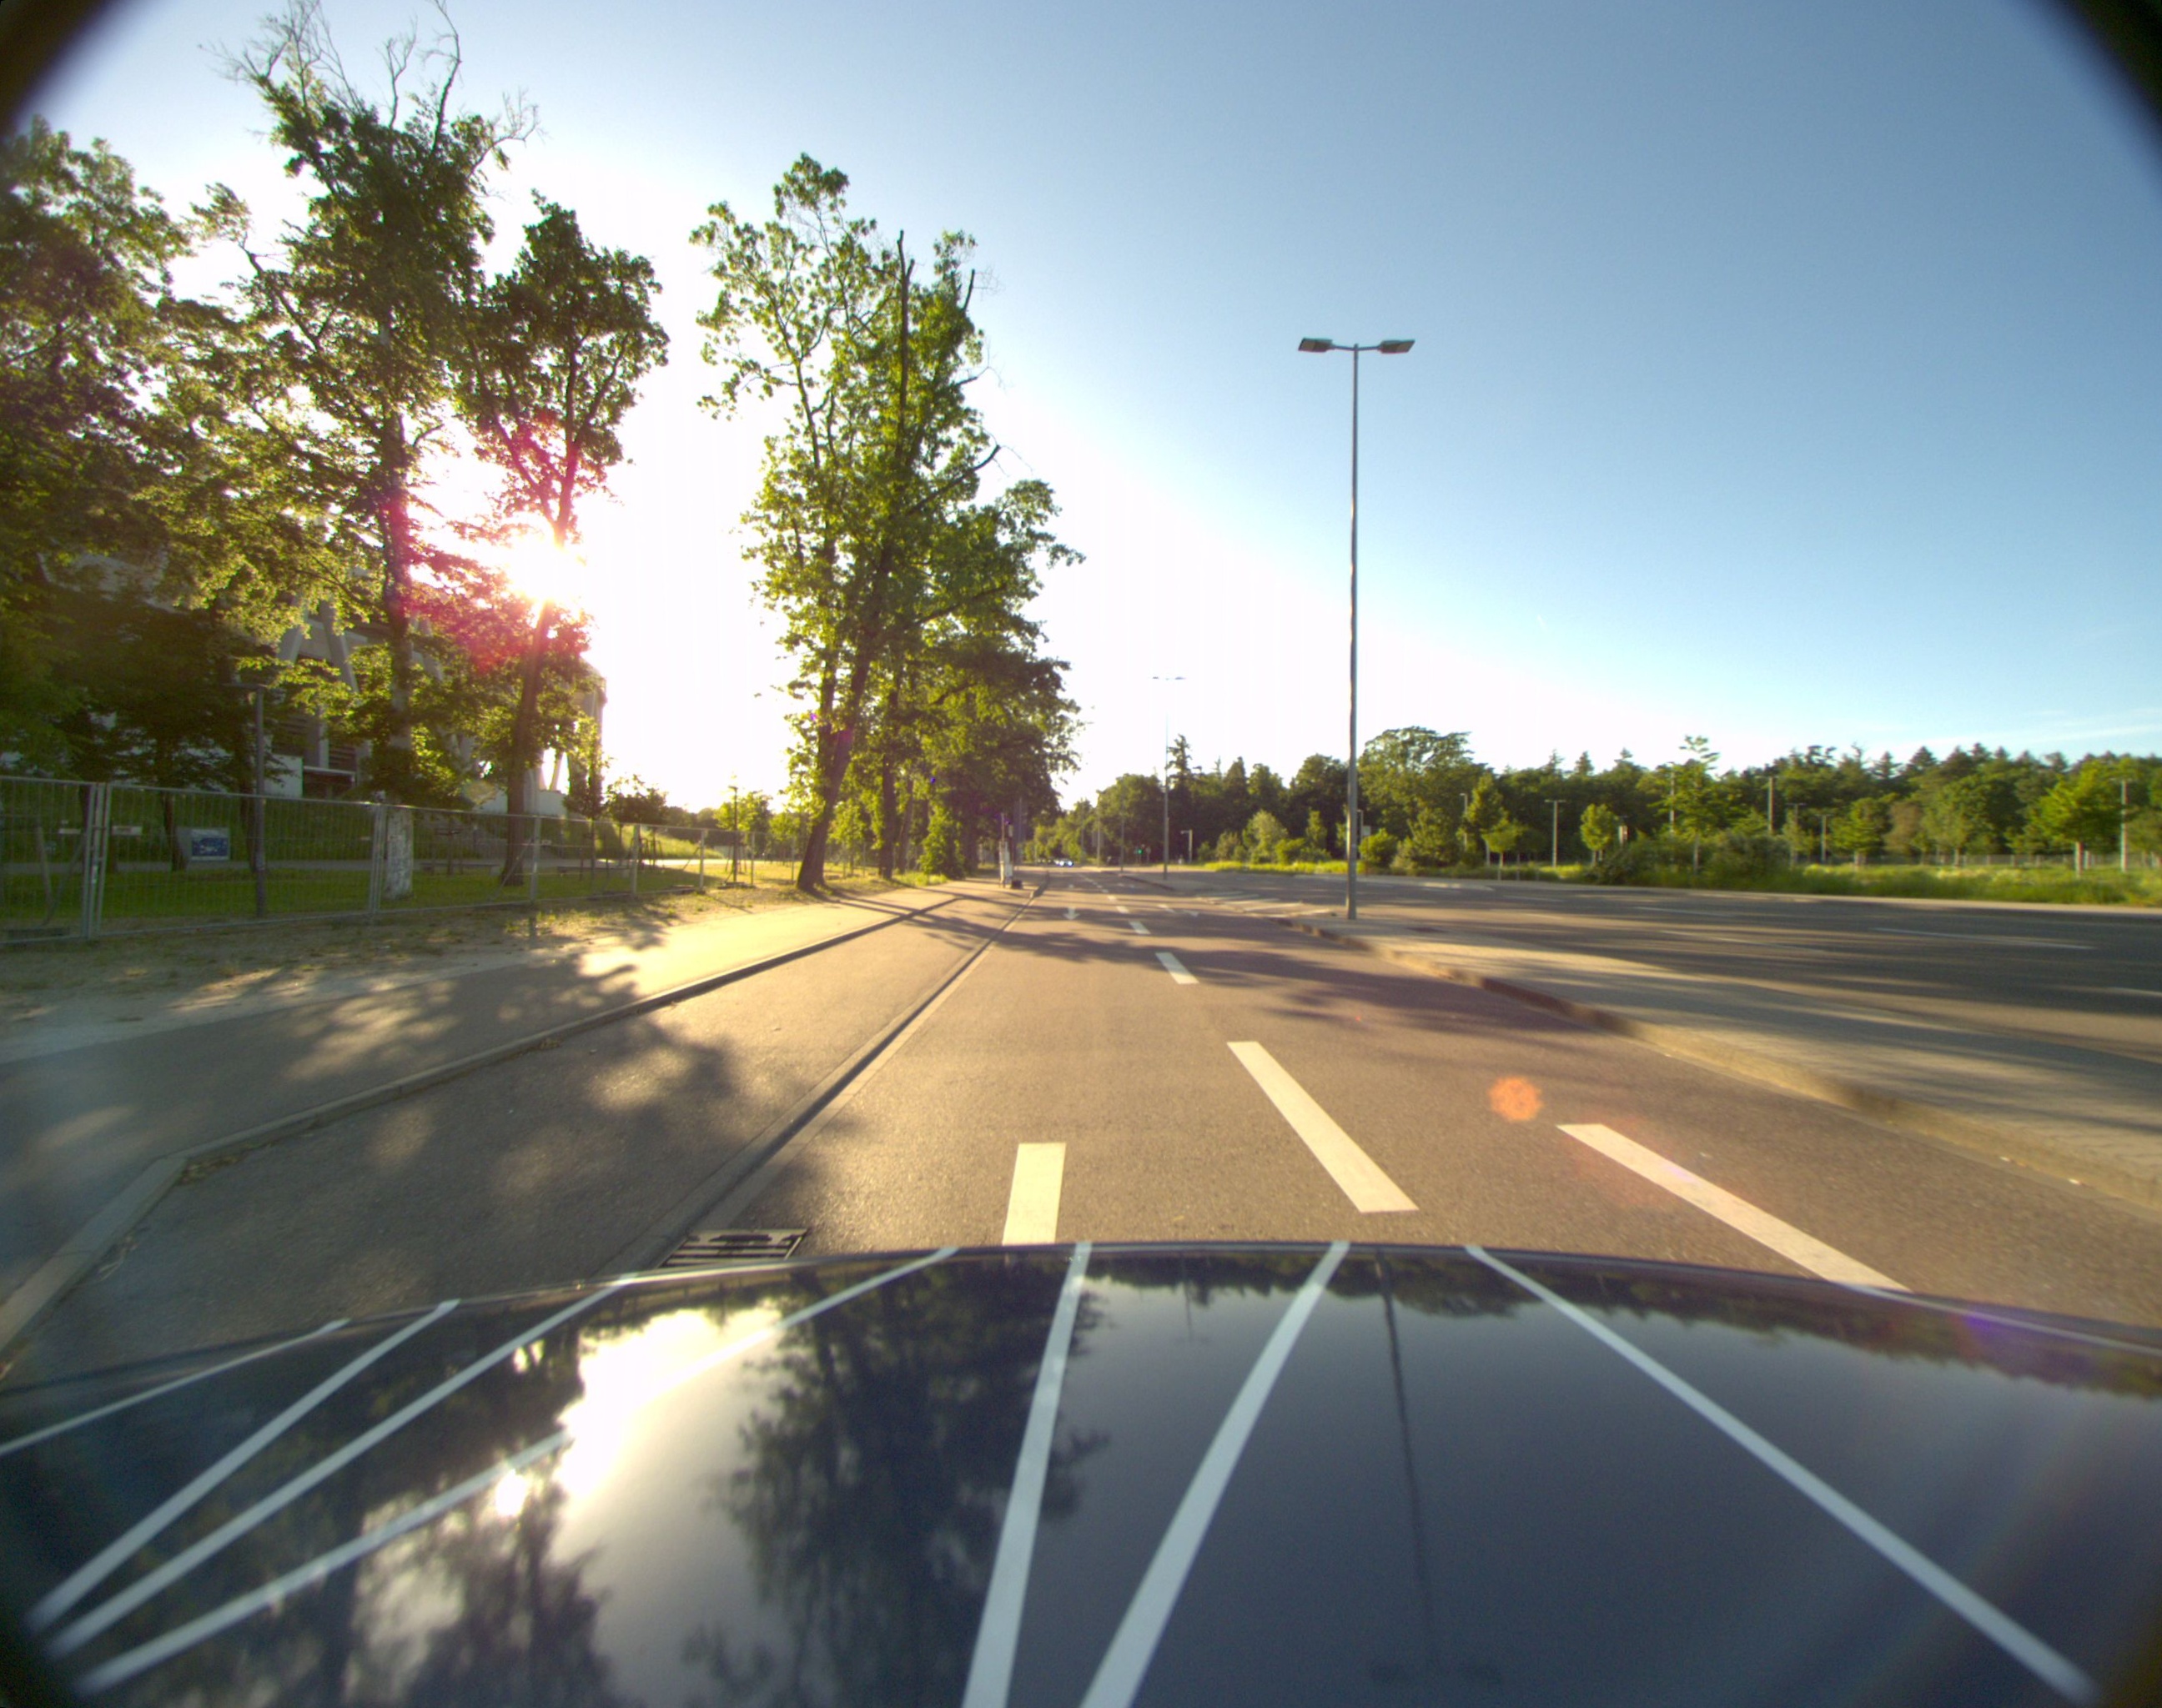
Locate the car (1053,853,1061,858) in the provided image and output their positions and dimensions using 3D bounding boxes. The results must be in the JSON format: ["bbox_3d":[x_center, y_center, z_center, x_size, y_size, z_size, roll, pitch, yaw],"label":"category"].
[{"bbox_3d":[-6.445,0.351,205.428,1.841,1.395,4.991,1,0,-1],"label":"car"}]

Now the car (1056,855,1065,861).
[{"bbox_3d":[-4.494,0.866,167.850,1.841,1.395,4.990,-1,0,-3],"label":"car"}]

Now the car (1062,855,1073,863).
[{"bbox_3d":[-2.444,0.967,138.669,1.841,1.395,3.999,-1,0,-3],"label":"car"}]

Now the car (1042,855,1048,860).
[{"bbox_3d":[-11.204,1.028,235.527,1.842,1.395,4.989,-1,0,-5],"label":"car"}]

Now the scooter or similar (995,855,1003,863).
[{"bbox_3d":[-12.687,0.828,117.594,1.303,1.230,0.334,1,0,-37],"label":"scooter or similar"}]

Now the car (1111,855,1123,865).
[{"bbox_3d":[6.581,1.070,139.718,1.788,1.682,4.701,-1,0,-2],"label":"car"}]
